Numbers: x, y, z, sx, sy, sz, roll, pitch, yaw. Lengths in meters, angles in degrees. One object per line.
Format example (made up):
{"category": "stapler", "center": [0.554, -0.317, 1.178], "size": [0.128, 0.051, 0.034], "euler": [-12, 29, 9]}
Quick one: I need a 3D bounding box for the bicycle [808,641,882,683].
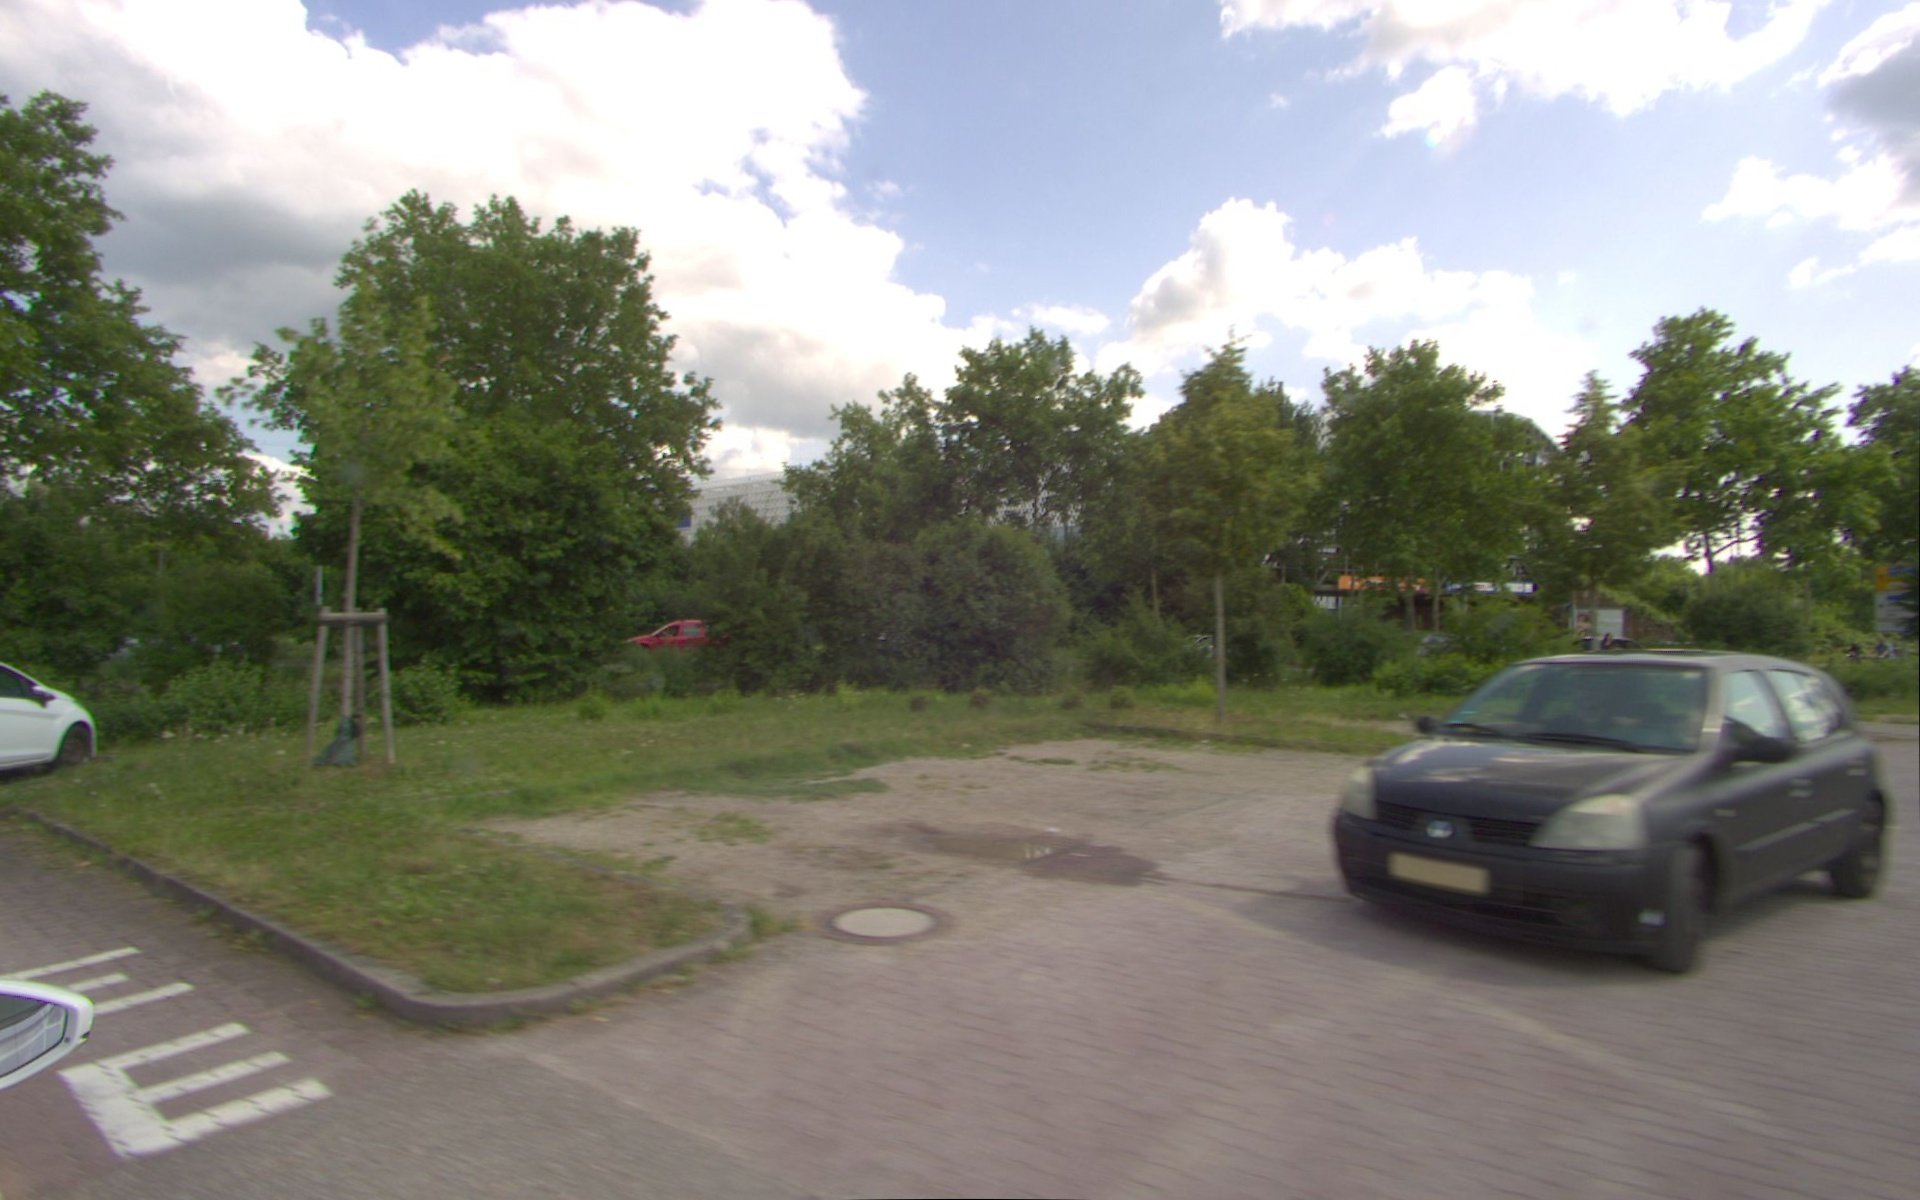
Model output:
{"category": "bicycle", "center": [-2.999, 1.617, 26.096], "size": [1.838, 1.050, 0.527], "euler": [0, -3, -17]}

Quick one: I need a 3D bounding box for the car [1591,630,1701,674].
{"category": "car", "center": [29.993, 2.277, 43.809], "size": [3.931, 1.736, 1.997], "euler": [-1, -3, -20]}

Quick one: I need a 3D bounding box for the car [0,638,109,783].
{"category": "car", "center": [-10.425, 1.108, 9.839], "size": [1.639, 1.430, 3.555], "euler": [1, -1, -12]}

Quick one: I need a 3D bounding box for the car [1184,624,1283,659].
{"category": "car", "center": [12.715, 1.926, 46.556], "size": [4.108, 1.569, 1.848], "euler": [1, -1, -19]}

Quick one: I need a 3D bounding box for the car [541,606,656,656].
{"category": "car", "center": [-13.783, 1.203, 38.412], "size": [3.927, 1.831, 1.998], "euler": [1, -1, -13]}

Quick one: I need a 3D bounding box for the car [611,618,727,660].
{"category": "car", "center": [-12.106, 1.634, 41.771], "size": [4.513, 1.691, 1.997], "euler": [1, -1, -16]}

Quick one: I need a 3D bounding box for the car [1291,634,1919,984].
{"category": "car", "center": [3.737, 0.874, 5.560], "size": [3.735, 1.338, 1.603], "euler": [1, -1, -32]}
